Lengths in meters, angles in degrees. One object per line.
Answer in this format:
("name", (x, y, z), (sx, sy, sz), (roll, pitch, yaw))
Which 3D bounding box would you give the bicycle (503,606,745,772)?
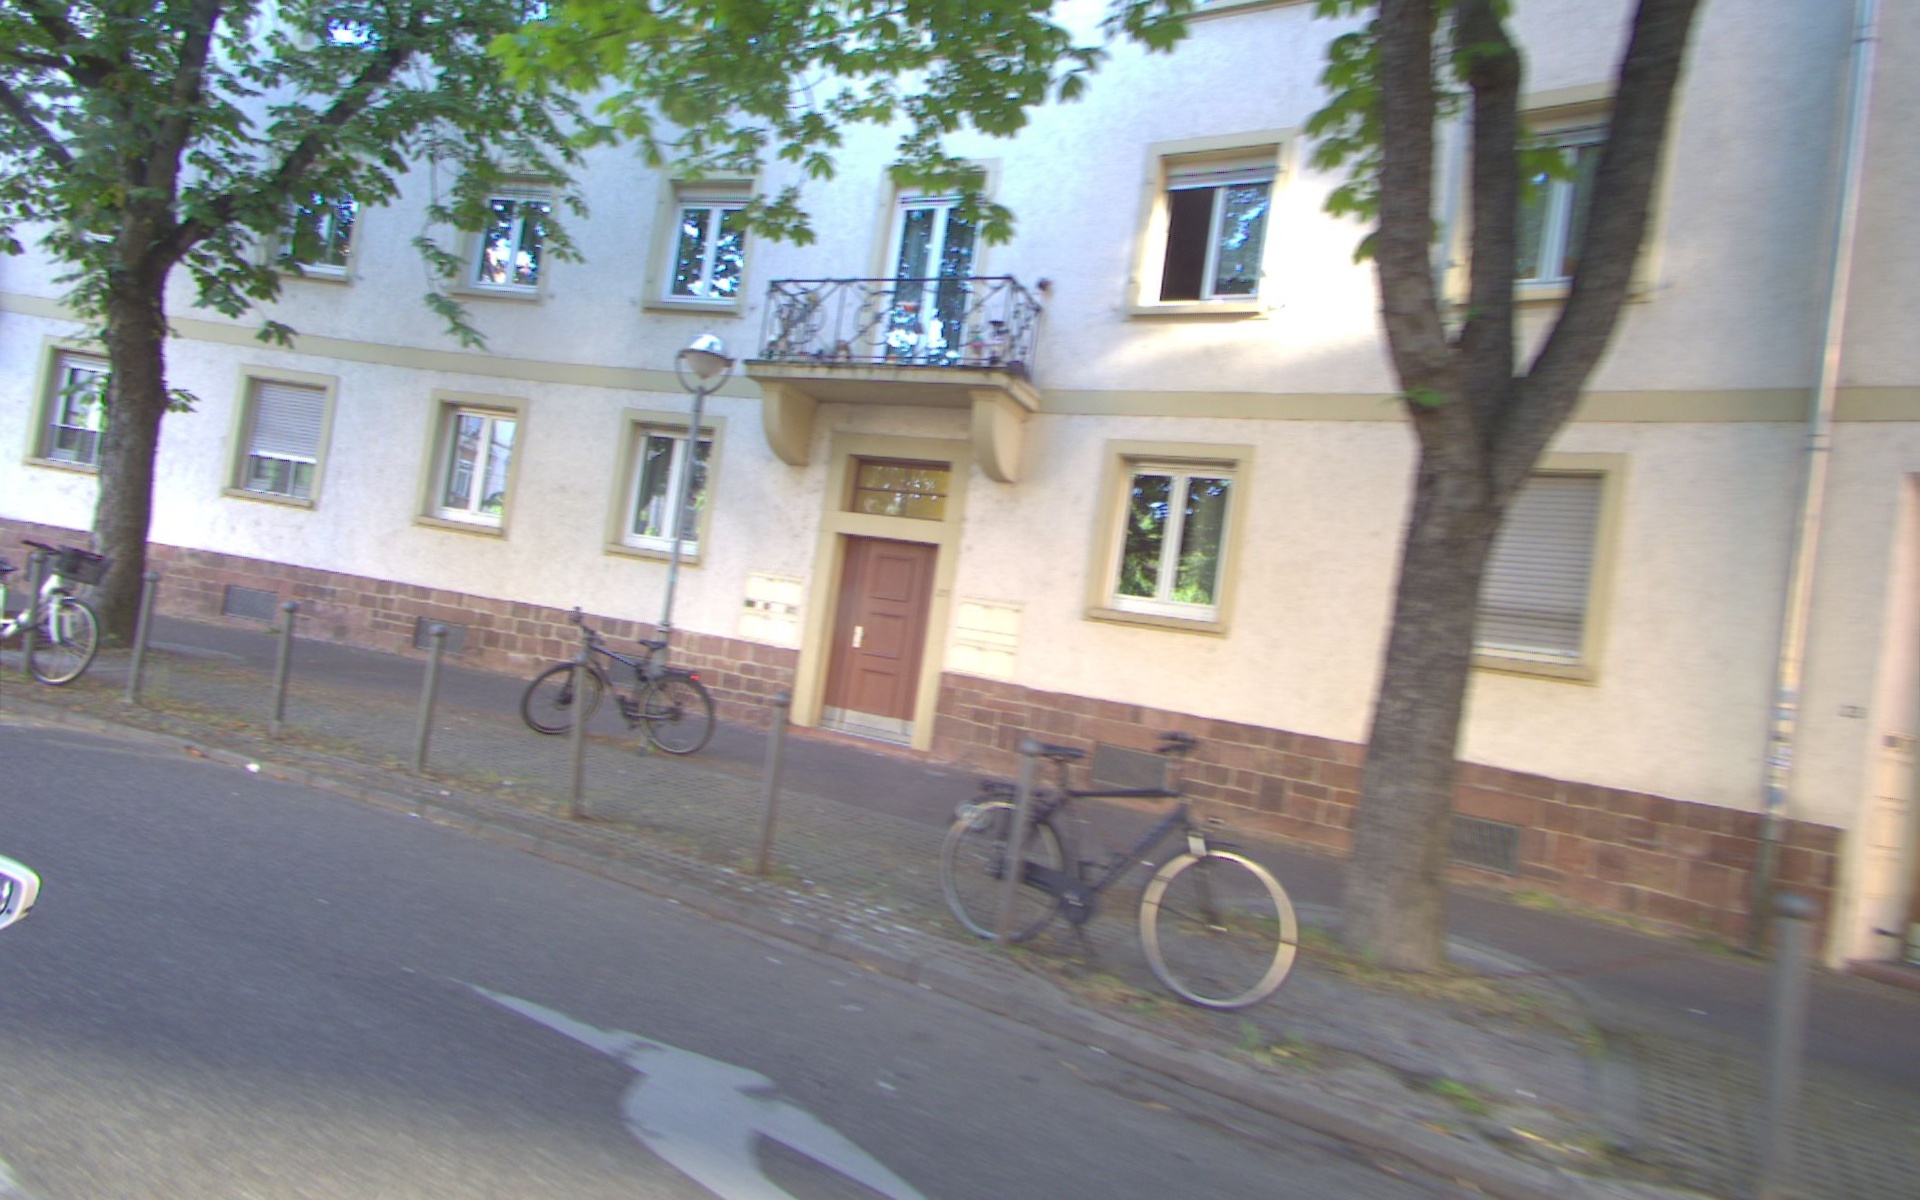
("bicycle", (-2.921, 0.761, 8.859), (1.788, 1.197, 0.673), (7, 1, 0))

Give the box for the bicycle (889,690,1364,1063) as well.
("bicycle", (0.737, 1.159, 4.730), (1.967, 1.172, 0.681), (7, -1, 30))

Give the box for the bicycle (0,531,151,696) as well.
("bicycle", (-7.833, 0.048, 8.274), (1.954, 1.127, 0.618), (8, 2, 9))
